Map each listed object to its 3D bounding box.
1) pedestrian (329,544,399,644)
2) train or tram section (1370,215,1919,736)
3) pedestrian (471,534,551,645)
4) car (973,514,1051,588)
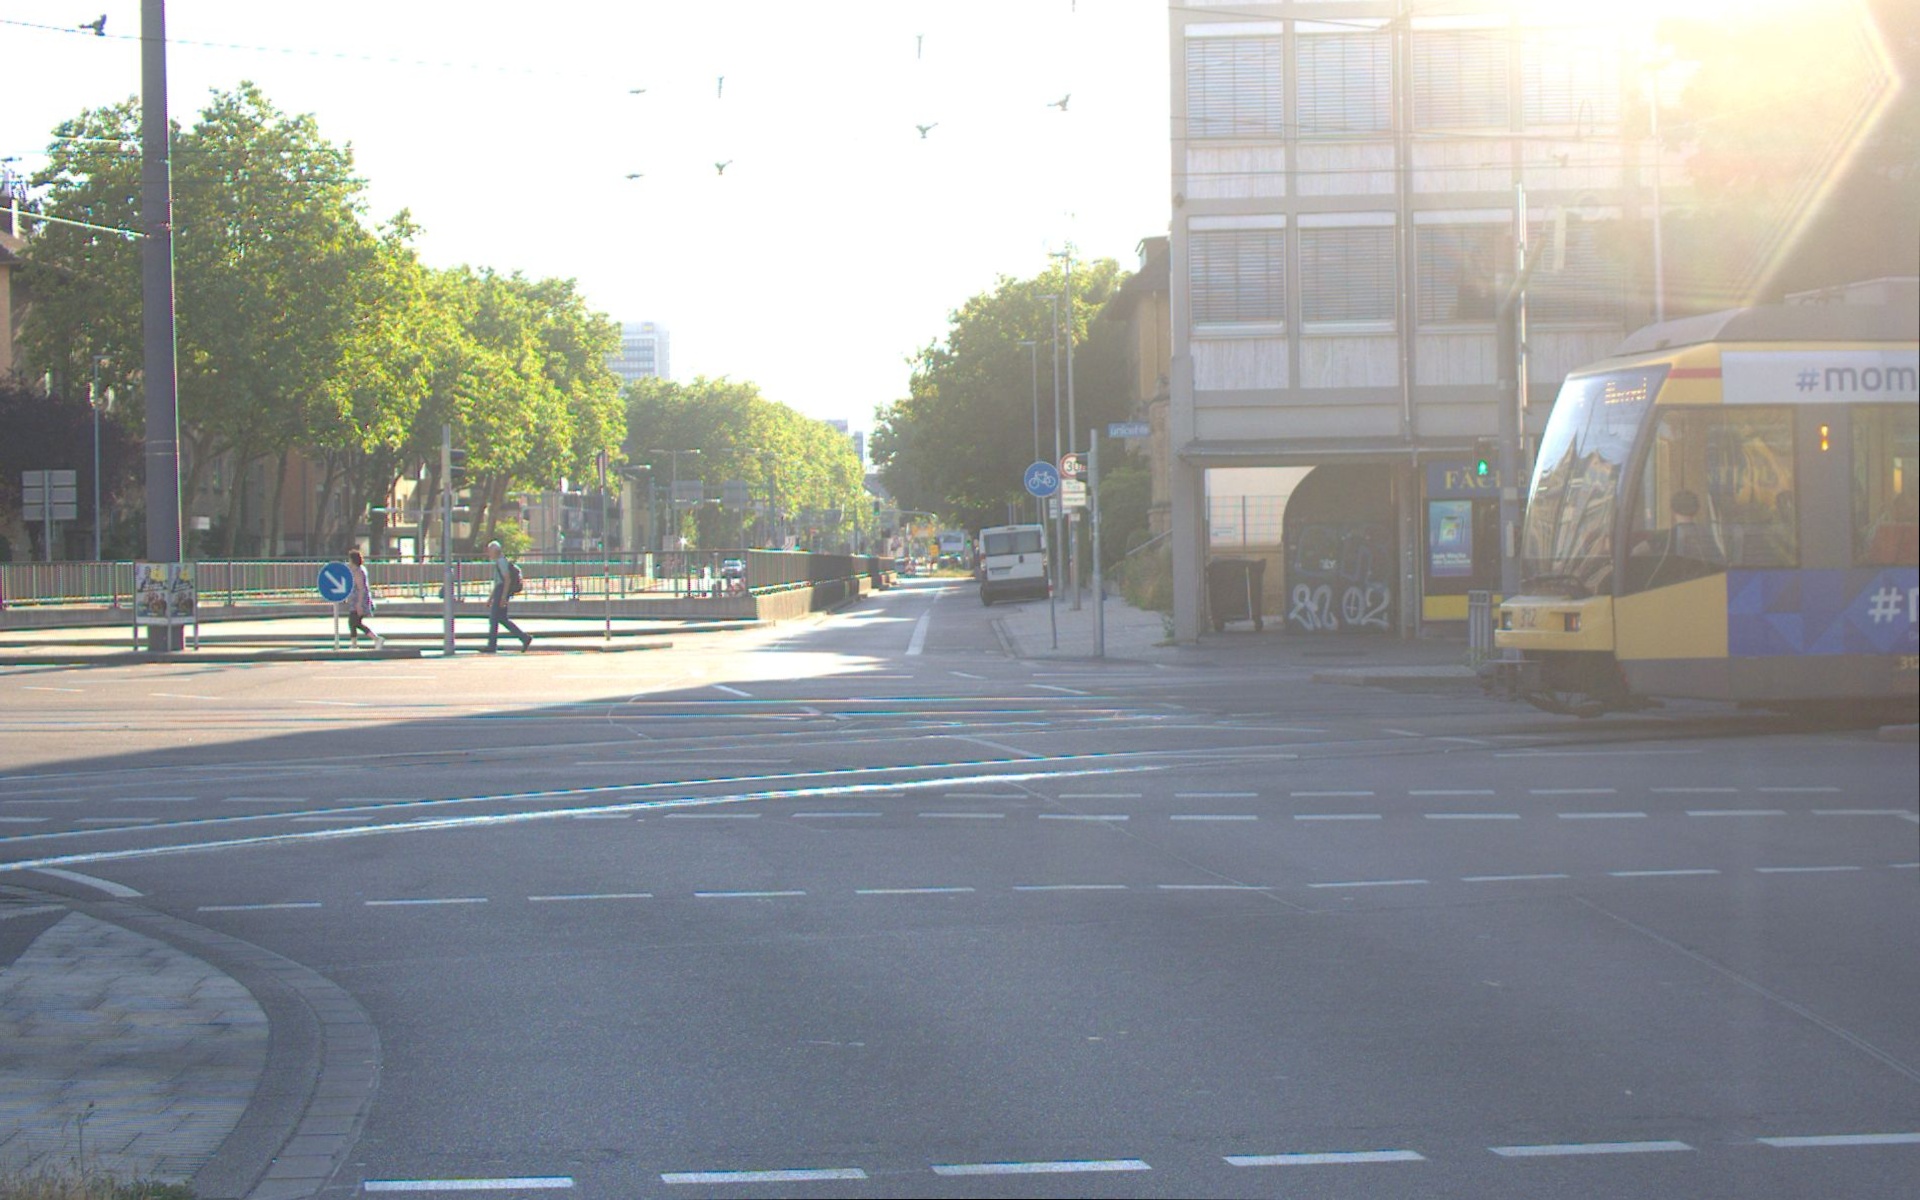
[{"bbox_3d":[-9.061,-0.088,52.248,0.853,1.460,0.686,1,-5,-29],"label":"pedestrian"},{"bbox_3d":[10.370,-1.022,28.820,13.312,3.820,3.717,-1,0,-16],"label":"train or tram section"},{"bbox_3d":[-7.068,-0.166,54.170,1.194,1.725,0.856,1,0,-5],"label":"pedestrian"},{"bbox_3d":[1.603,-1.471,103.919,2.286,2.165,4.833,1,1,1],"label":"car"}]
